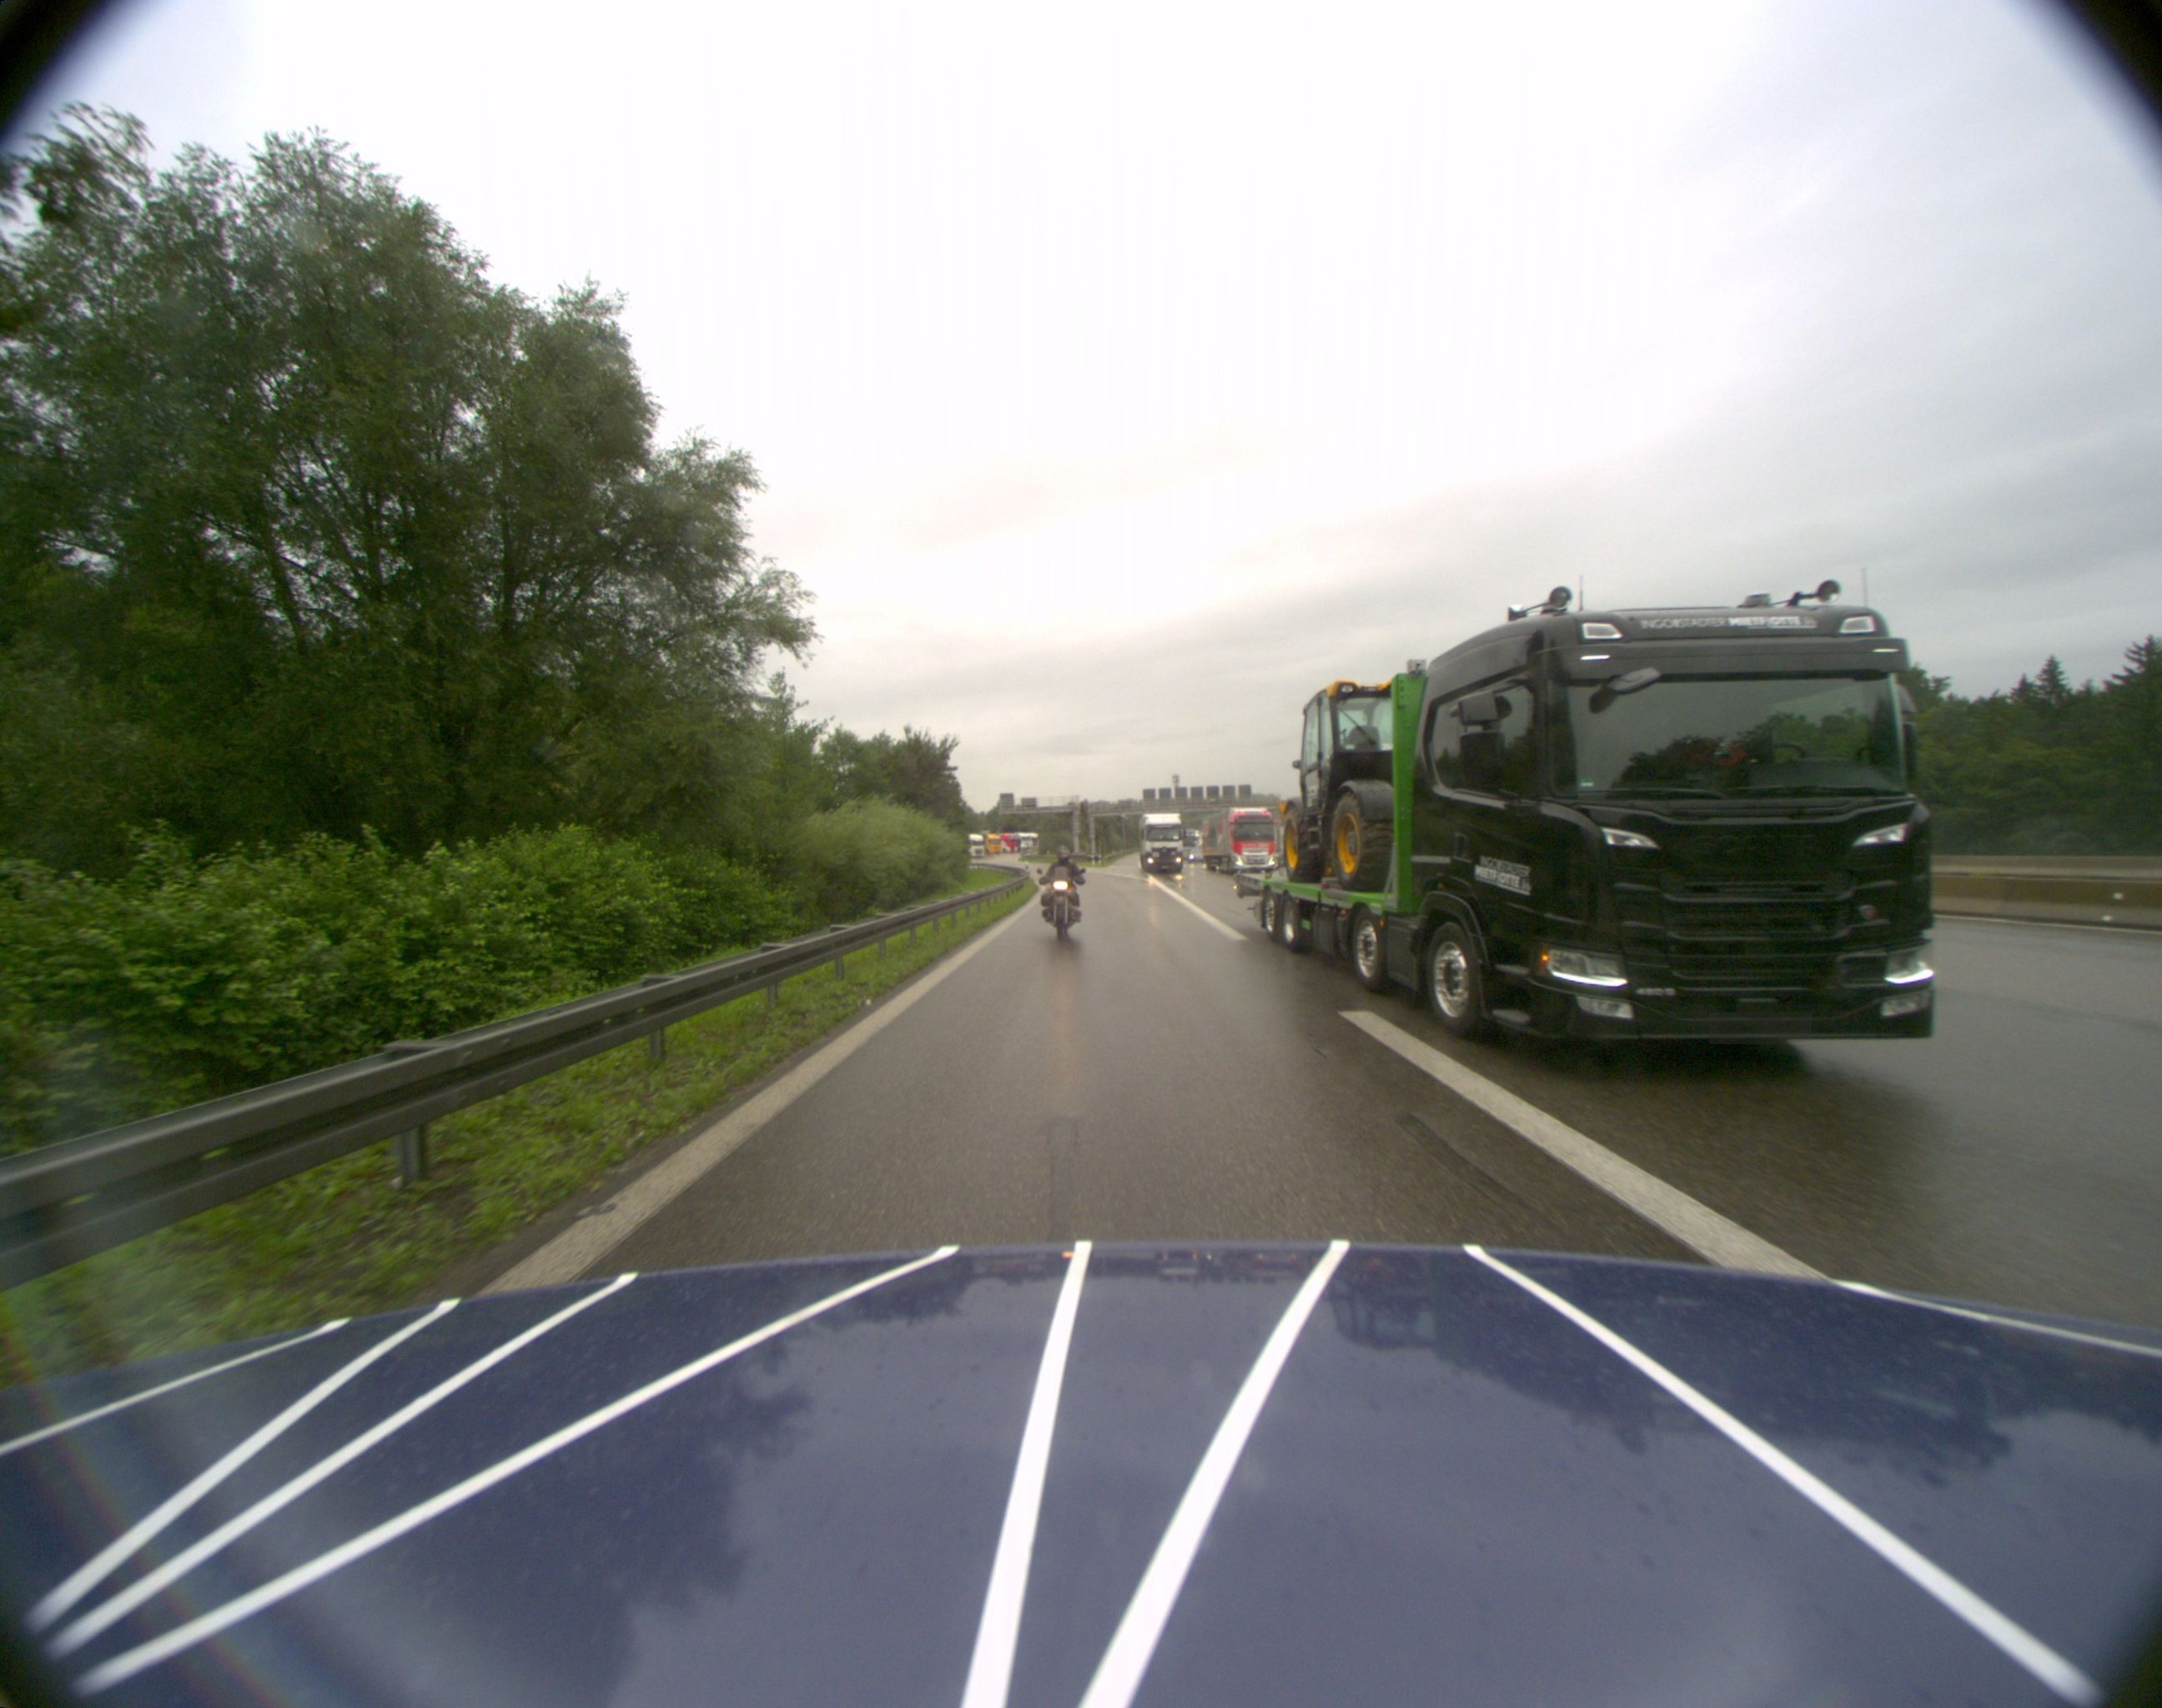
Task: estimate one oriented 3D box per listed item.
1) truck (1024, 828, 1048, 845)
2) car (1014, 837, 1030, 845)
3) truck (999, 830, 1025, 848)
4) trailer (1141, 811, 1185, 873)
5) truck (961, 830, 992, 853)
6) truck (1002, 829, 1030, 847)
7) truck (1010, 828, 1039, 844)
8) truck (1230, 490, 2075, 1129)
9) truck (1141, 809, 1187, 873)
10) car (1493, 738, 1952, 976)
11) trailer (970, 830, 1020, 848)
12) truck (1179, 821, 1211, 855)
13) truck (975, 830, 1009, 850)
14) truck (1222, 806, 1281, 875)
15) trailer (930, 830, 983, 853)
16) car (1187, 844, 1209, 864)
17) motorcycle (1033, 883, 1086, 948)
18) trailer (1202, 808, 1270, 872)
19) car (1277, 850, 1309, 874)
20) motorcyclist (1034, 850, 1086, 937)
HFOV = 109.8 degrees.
[{"bbox_3d":[-12.147,-4.786,203.841,3.251,4.362,5.797,-4,3,-42],"label":"truck"},{"bbox_3d":[-14.688,-3.145,189.058,1.851,1.848,3.989,-4,3,-39],"label":"car"},{"bbox_3d":[-15.056,-3.313,165.984,3.252,3.898,5.007,-3,3,-42],"label":"truck"},{"bbox_3d":[6.282,-1.012,59.591,2.925,4.181,13.637,-1,2,5],"label":"trailer"},{"bbox_3d":[-18.467,-2.162,134.077,2.836,3.891,5.395,-3,3,-40],"label":"truck"},{"bbox_3d":[-14.648,-3.550,171.026,2.905,3.898,6.537,-3,3,-42],"label":"truck"},{"bbox_3d":[-14.635,-4.605,195.186,3.252,4.069,7.915,-3,3,-42],"label":"truck"},{"bbox_3d":[4.357,-0.299,10.195,2.838,3.568,11.797,-1,1,2],"label":"truck"},{"bbox_3d":[5.682,-0.913,52.897,2.925,4.076,6.719,-1,2,5],"label":"truck"},{"bbox_3d":[8.750,-0.011,11.431,2.220,2.615,5.844,-1,1,4],"label":"car"},{"bbox_3d":[-19.513,-3.422,171.029,3.252,3.898,14.788,-3,3,-42],"label":"trailer"},{"bbox_3d":[15.369,-2.312,103.274,3.354,4.048,12.572,-5,2,6],"label":"truck"},{"bbox_3d":[-17.888,-2.744,152.463,2.845,3.898,8.107,-3,3,-38],"label":"truck"},{"bbox_3d":[10.068,-0.778,45.254,2.633,3.842,4.589,-1,1,3],"label":"truck"},{"bbox_3d":[-22.955,-2.310,139.517,2.849,3.898,13.915,-3,3,-39],"label":"trailer"},{"bbox_3d":[12.223,-0.013,79.283,1.762,1.762,3.999,-5,2,4],"label":"car"},{"bbox_3d":[-0.369,1.146,14.780,0.878,1.016,2.352,-1,1,2],"label":"motorcycle"},{"bbox_3d":[10.442,-0.950,52.762,2.633,3.842,13.676,-1,1,3],"label":"trailer"},{"bbox_3d":[18.608,0.681,66.916,1.762,1.762,3.999,-5,2,3],"label":"car"},{"bbox_3d":[-0.383,0.729,14.691,0.878,1.559,1.373,-1,1,2],"label":"motorcyclist"}]
